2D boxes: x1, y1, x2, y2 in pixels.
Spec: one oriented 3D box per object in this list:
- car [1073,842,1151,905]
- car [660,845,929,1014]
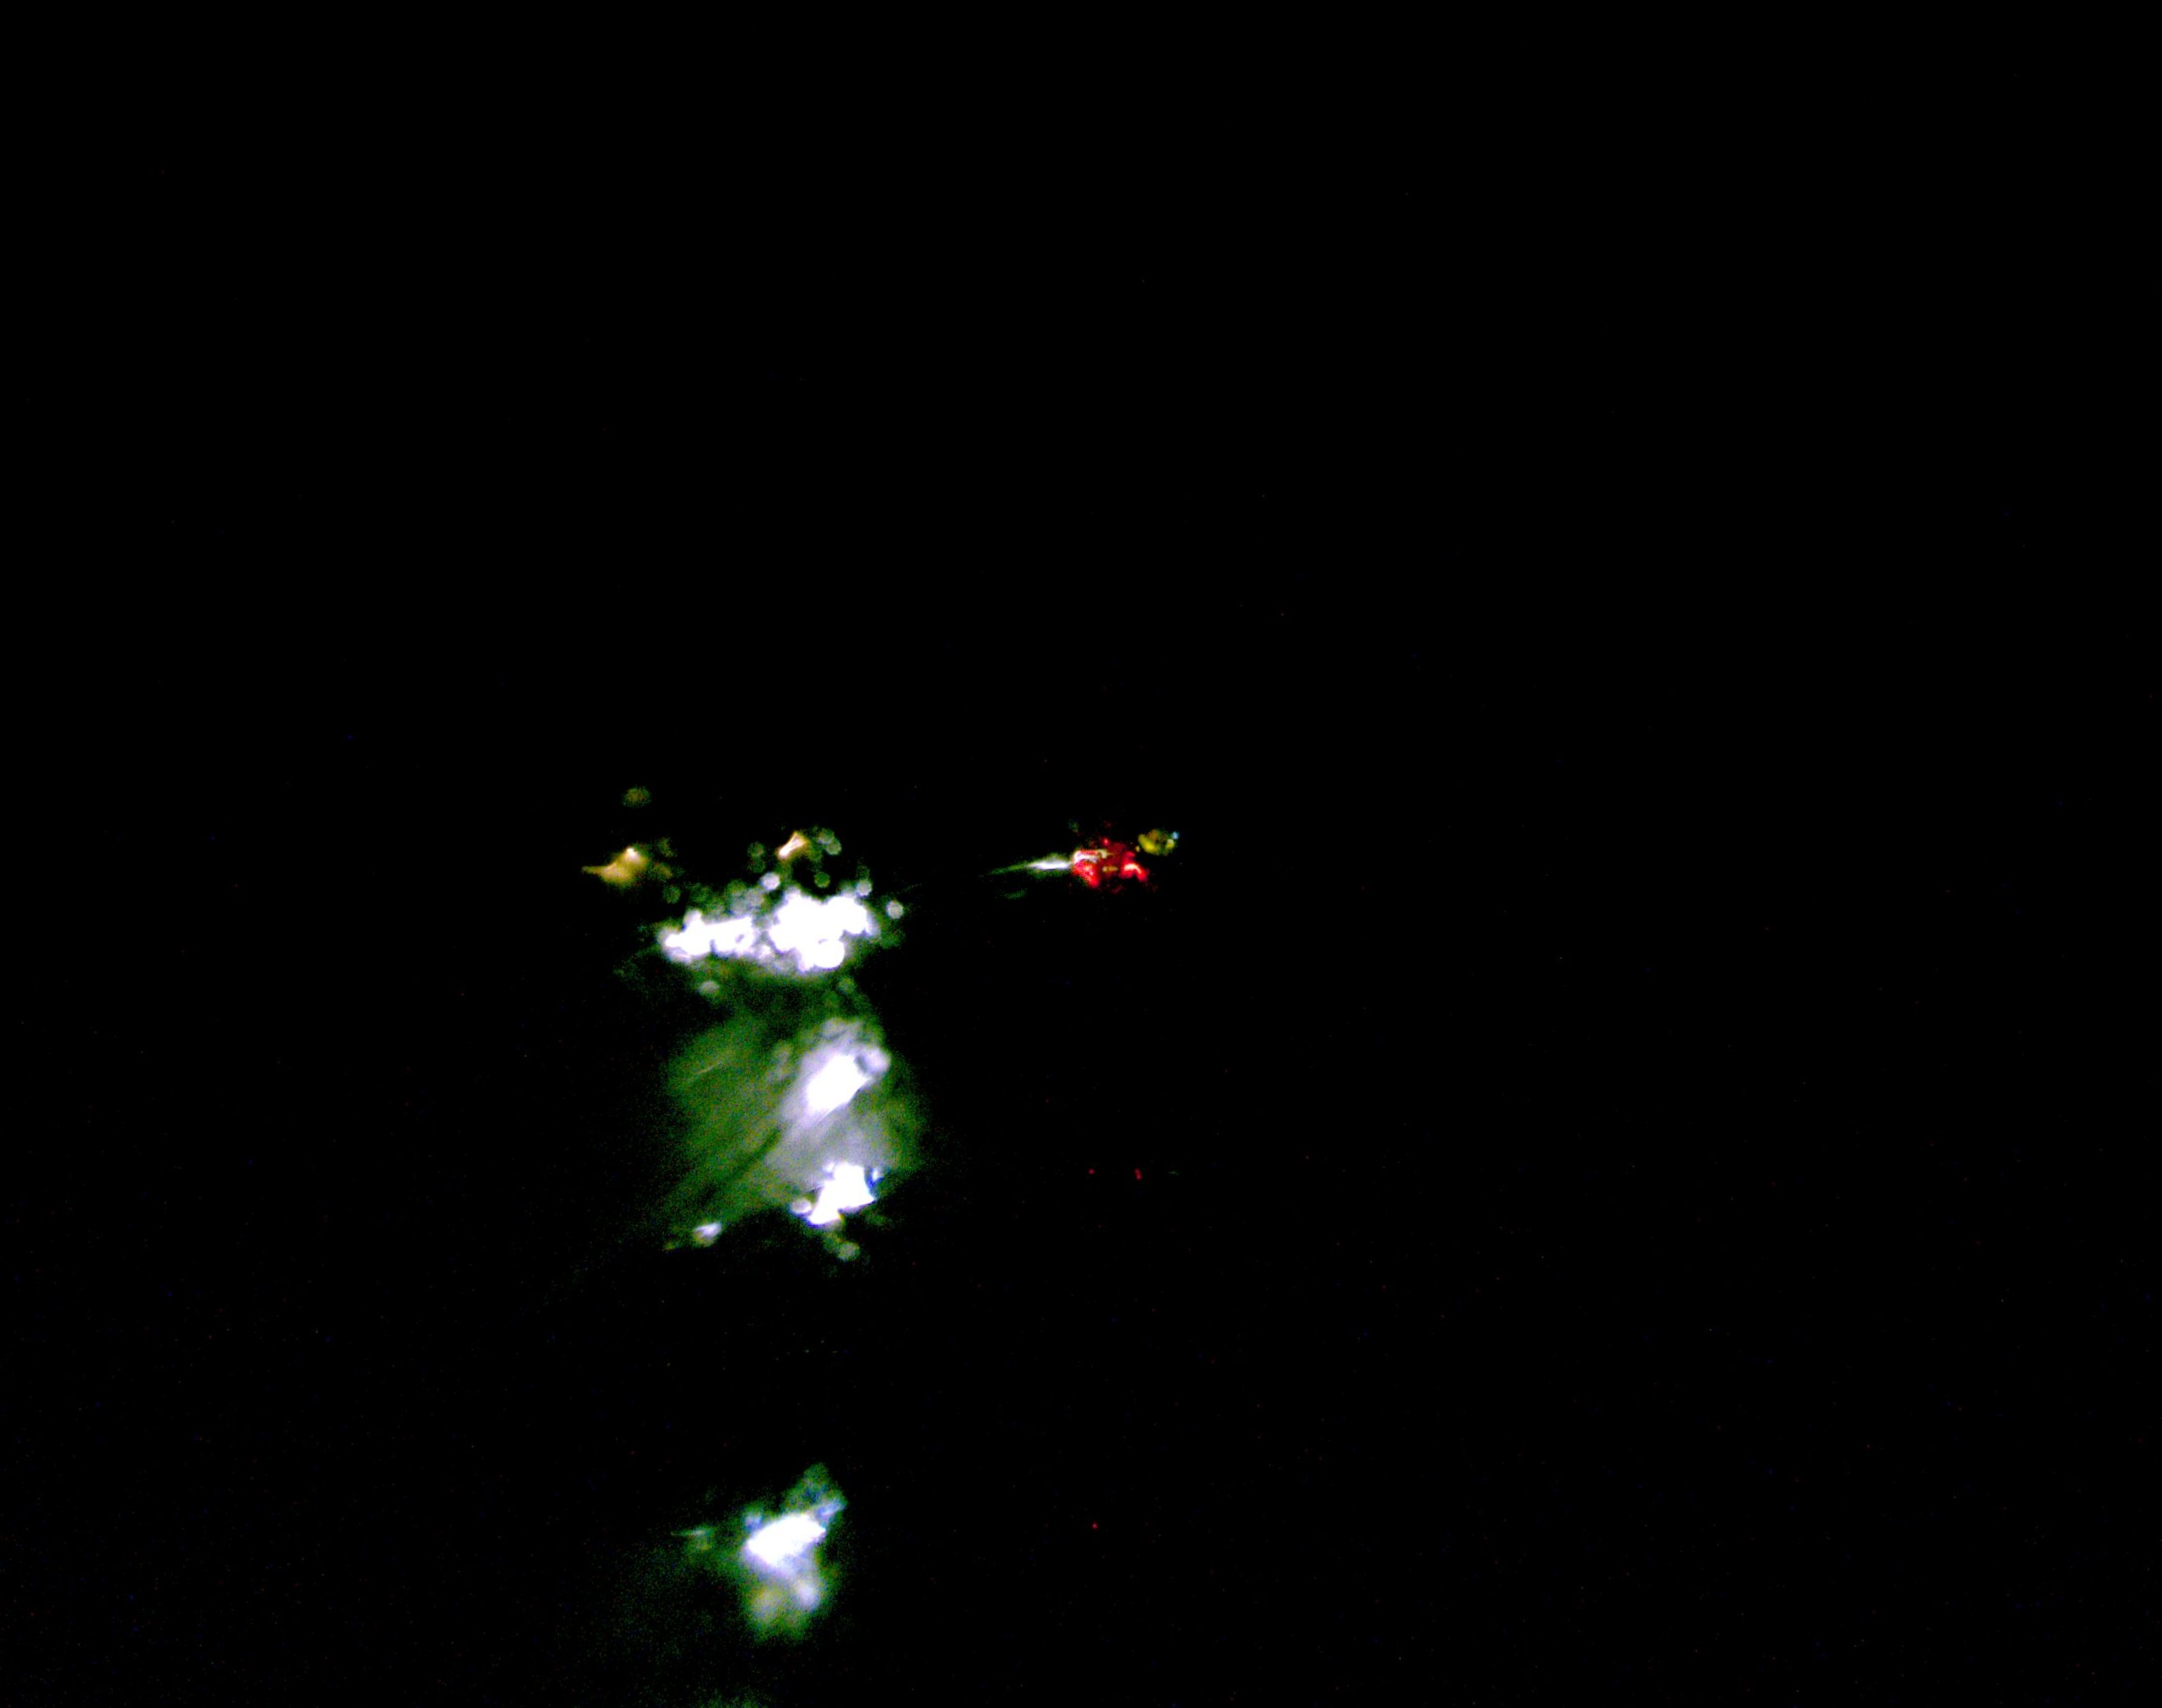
[{"bbox_3d":[1.005,0.702,29.108,2.450,1.958,4.909,-2,-2,-1],"label":"car"},{"bbox_3d":[-3.470,0.787,10.873,1.848,1.683,4.327,-4,0,1],"label":"car"}]
